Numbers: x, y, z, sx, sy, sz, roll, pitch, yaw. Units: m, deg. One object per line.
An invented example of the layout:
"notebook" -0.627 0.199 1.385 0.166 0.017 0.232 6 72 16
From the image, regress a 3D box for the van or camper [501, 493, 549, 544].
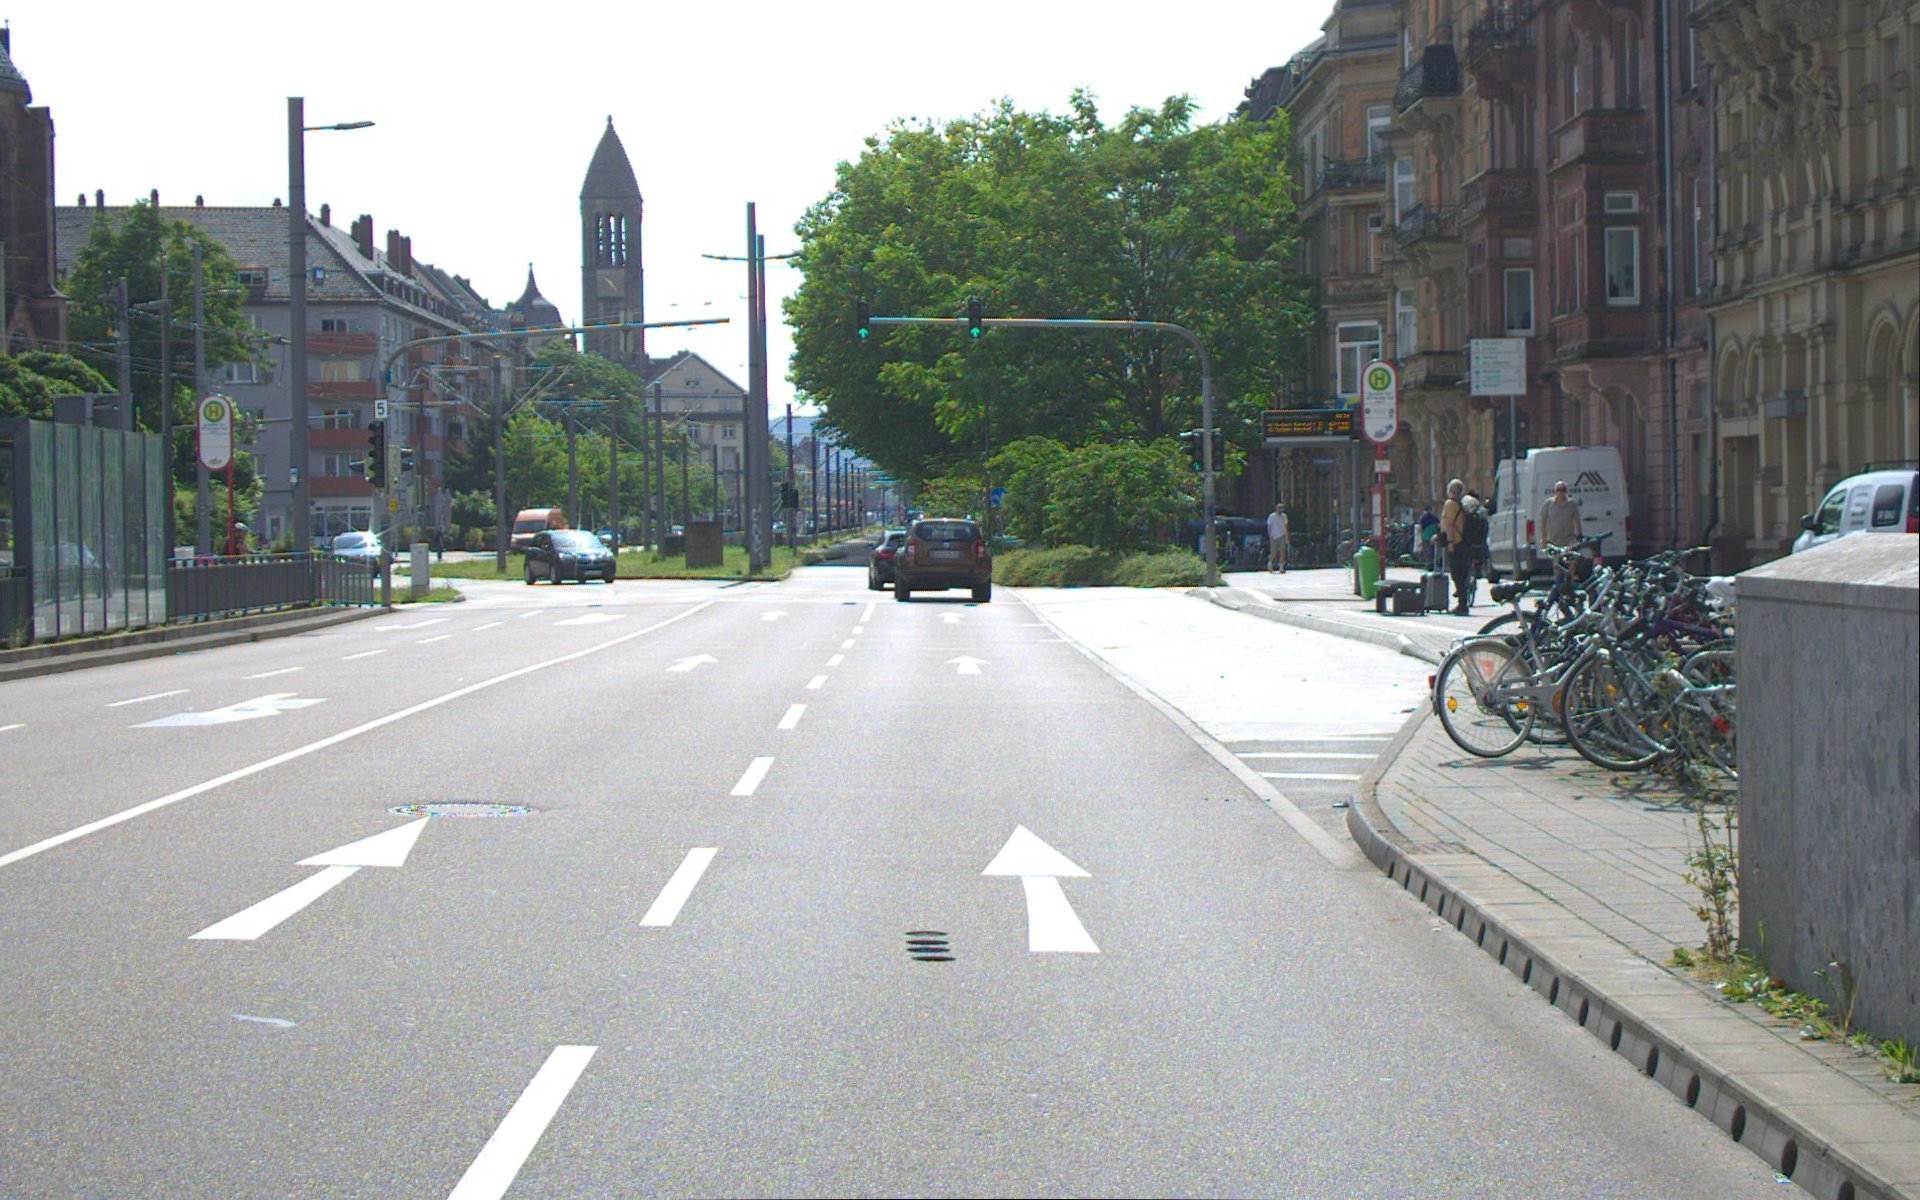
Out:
"van or camper" -23.977 -4.476 189.555 2.255 2.728 6.204 -1 1 -4

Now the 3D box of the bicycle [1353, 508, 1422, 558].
"bicycle" 11.086 -1.744 89.186 1.746 1.263 0.466 0 3 3

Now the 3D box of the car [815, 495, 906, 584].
"car" -2.367 -1.434 80.982 1.993 2.007 4.001 -1 1 -3

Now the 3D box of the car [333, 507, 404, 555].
"car" -19.907 -2.328 115.920 1.817 1.546 4.561 -1 1 -3

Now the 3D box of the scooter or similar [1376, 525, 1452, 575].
"scooter or similar" 11.342 -1.244 85.914 1.769 1.181 0.466 -3 0 0

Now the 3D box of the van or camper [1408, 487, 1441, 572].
"van or camper" 11.092 -1.685 82.091 0.666 2.007 0.638 -1 1 0

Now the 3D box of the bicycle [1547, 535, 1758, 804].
"bicycle" 3.550 0.323 17.768 0.439 1.233 1.931 -1 3 -8

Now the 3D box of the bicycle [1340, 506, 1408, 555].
"bicycle" 10.996 -1.846 91.400 1.769 1.263 0.466 0 3 3

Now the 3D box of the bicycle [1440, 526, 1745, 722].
"bicycle" 4.212 0.150 22.895 1.978 1.233 0.441 -1 3 -11

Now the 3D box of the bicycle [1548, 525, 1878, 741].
"bicycle" 4.548 0.187 20.772 1.923 1.233 0.441 -1 3 -11

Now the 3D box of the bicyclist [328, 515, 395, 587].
"bicyclist" -12.063 -0.985 69.347 1.089 1.431 0.824 -1 1 10

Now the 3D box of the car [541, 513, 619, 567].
"car" -10.264 -1.624 93.085 1.915 1.412 3.742 -1 1 -4

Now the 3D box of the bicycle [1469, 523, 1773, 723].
"bicycle" 4.308 0.138 22.418 1.923 1.233 0.441 -1 3 -12

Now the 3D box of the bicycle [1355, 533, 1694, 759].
"bicycle" 3.286 0.257 20.003 1.923 1.233 0.441 -1 3 -13

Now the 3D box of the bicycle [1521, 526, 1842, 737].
"bicycle" 4.473 0.183 21.327 1.923 1.233 0.441 -1 3 -11

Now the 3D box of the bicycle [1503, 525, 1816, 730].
"bicycle" 4.455 0.164 21.908 1.923 1.233 0.441 -1 3 -11

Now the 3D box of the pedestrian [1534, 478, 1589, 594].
"pedestrian" 9.665 -1.032 55.272 0.662 1.830 0.695 -1 1 -7

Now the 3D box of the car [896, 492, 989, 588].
"car" -0.366 -1.193 67.157 1.689 1.705 3.610 -1 3 -2

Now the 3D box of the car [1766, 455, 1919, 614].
"car" 11.767 -0.805 42.611 1.993 1.855 4.754 -1 1 -6

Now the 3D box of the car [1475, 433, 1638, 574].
"car" 11.198 -1.814 64.945 1.993 2.516 5.889 -1 1 0

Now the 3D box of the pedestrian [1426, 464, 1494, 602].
"pedestrian" 6.964 -0.937 47.867 0.662 1.896 0.695 -2 1 -19

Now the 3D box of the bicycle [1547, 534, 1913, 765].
"bicycle" 4.244 0.268 19.008 1.924 1.233 0.441 -1 3 2

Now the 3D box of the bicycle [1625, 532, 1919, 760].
"bicycle" 4.829 0.252 19.865 1.923 1.233 0.441 -1 3 -13

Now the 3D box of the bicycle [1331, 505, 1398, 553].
"bicycle" 10.968 -1.937 93.132 1.769 1.263 0.466 0 3 3

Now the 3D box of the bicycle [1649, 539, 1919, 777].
"bicycle" 4.704 0.306 18.445 1.924 1.233 0.441 -1 3 2

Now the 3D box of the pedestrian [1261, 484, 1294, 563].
"pedestrian" 8.162 -1.959 88.415 0.768 2.007 0.715 -1 1 0

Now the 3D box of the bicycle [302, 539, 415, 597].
"bicycle" -12.122 -0.644 69.317 2.019 1.122 0.931 -1 1 10

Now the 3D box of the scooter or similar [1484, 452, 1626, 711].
"scooter or similar" 4.226 -0.143 24.503 0.397 1.780 1.538 -1 1 -13

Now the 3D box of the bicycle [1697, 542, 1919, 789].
"bicycle" 4.811 0.326 17.733 1.924 1.233 0.441 -1 3 2

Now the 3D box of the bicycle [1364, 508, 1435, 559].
"bicycle" 11.327 -1.716 88.568 1.769 1.263 0.466 0 3 3
